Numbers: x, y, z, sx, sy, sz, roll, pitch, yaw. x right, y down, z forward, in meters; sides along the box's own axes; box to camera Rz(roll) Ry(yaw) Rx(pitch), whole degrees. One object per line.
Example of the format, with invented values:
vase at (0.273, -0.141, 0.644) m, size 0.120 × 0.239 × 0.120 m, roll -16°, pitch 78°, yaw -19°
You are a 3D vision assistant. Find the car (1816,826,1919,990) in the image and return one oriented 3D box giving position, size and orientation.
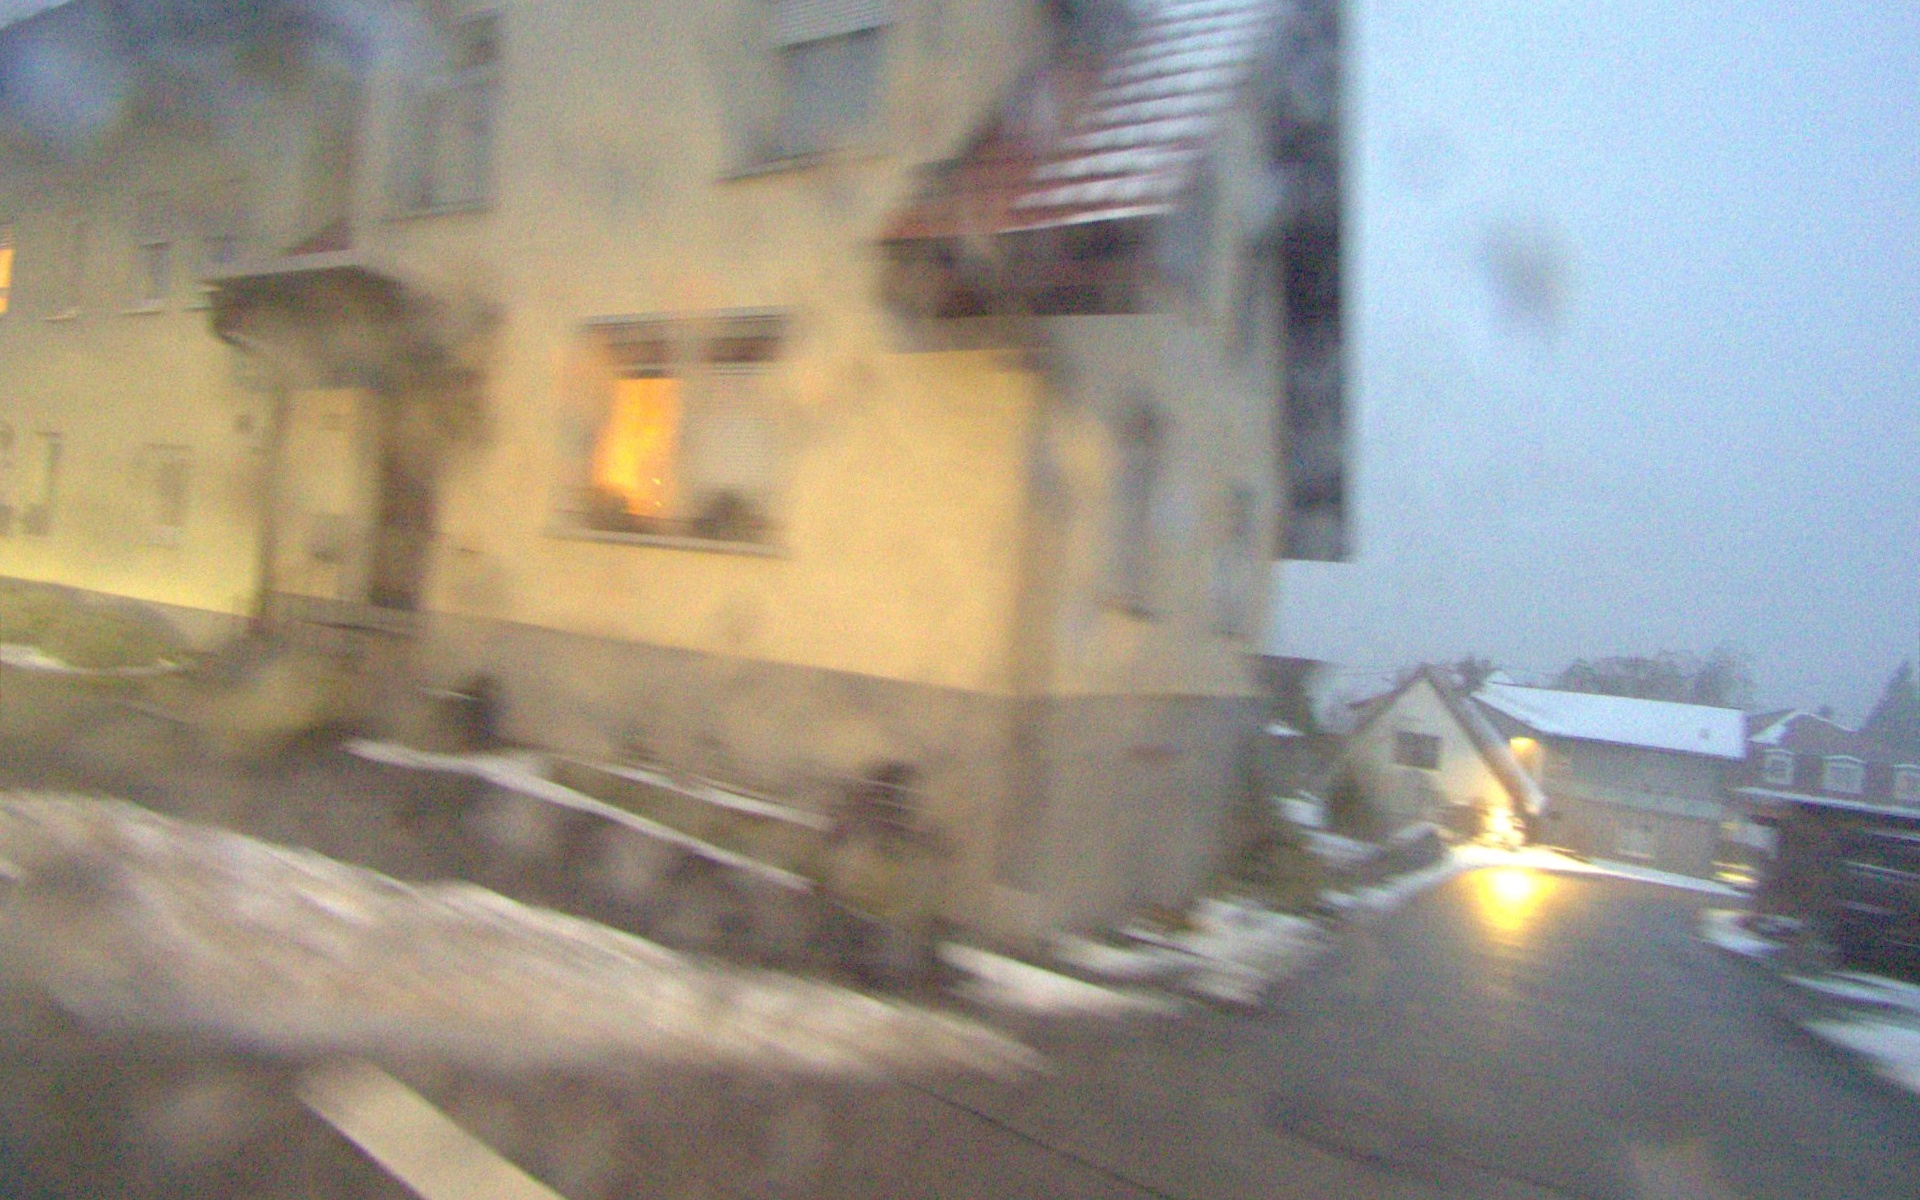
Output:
car at (14.931, 4.588, 15.129) m, size 3.952 × 2.029 × 1.694 m, roll 7°, pitch -2°, yaw -27°
